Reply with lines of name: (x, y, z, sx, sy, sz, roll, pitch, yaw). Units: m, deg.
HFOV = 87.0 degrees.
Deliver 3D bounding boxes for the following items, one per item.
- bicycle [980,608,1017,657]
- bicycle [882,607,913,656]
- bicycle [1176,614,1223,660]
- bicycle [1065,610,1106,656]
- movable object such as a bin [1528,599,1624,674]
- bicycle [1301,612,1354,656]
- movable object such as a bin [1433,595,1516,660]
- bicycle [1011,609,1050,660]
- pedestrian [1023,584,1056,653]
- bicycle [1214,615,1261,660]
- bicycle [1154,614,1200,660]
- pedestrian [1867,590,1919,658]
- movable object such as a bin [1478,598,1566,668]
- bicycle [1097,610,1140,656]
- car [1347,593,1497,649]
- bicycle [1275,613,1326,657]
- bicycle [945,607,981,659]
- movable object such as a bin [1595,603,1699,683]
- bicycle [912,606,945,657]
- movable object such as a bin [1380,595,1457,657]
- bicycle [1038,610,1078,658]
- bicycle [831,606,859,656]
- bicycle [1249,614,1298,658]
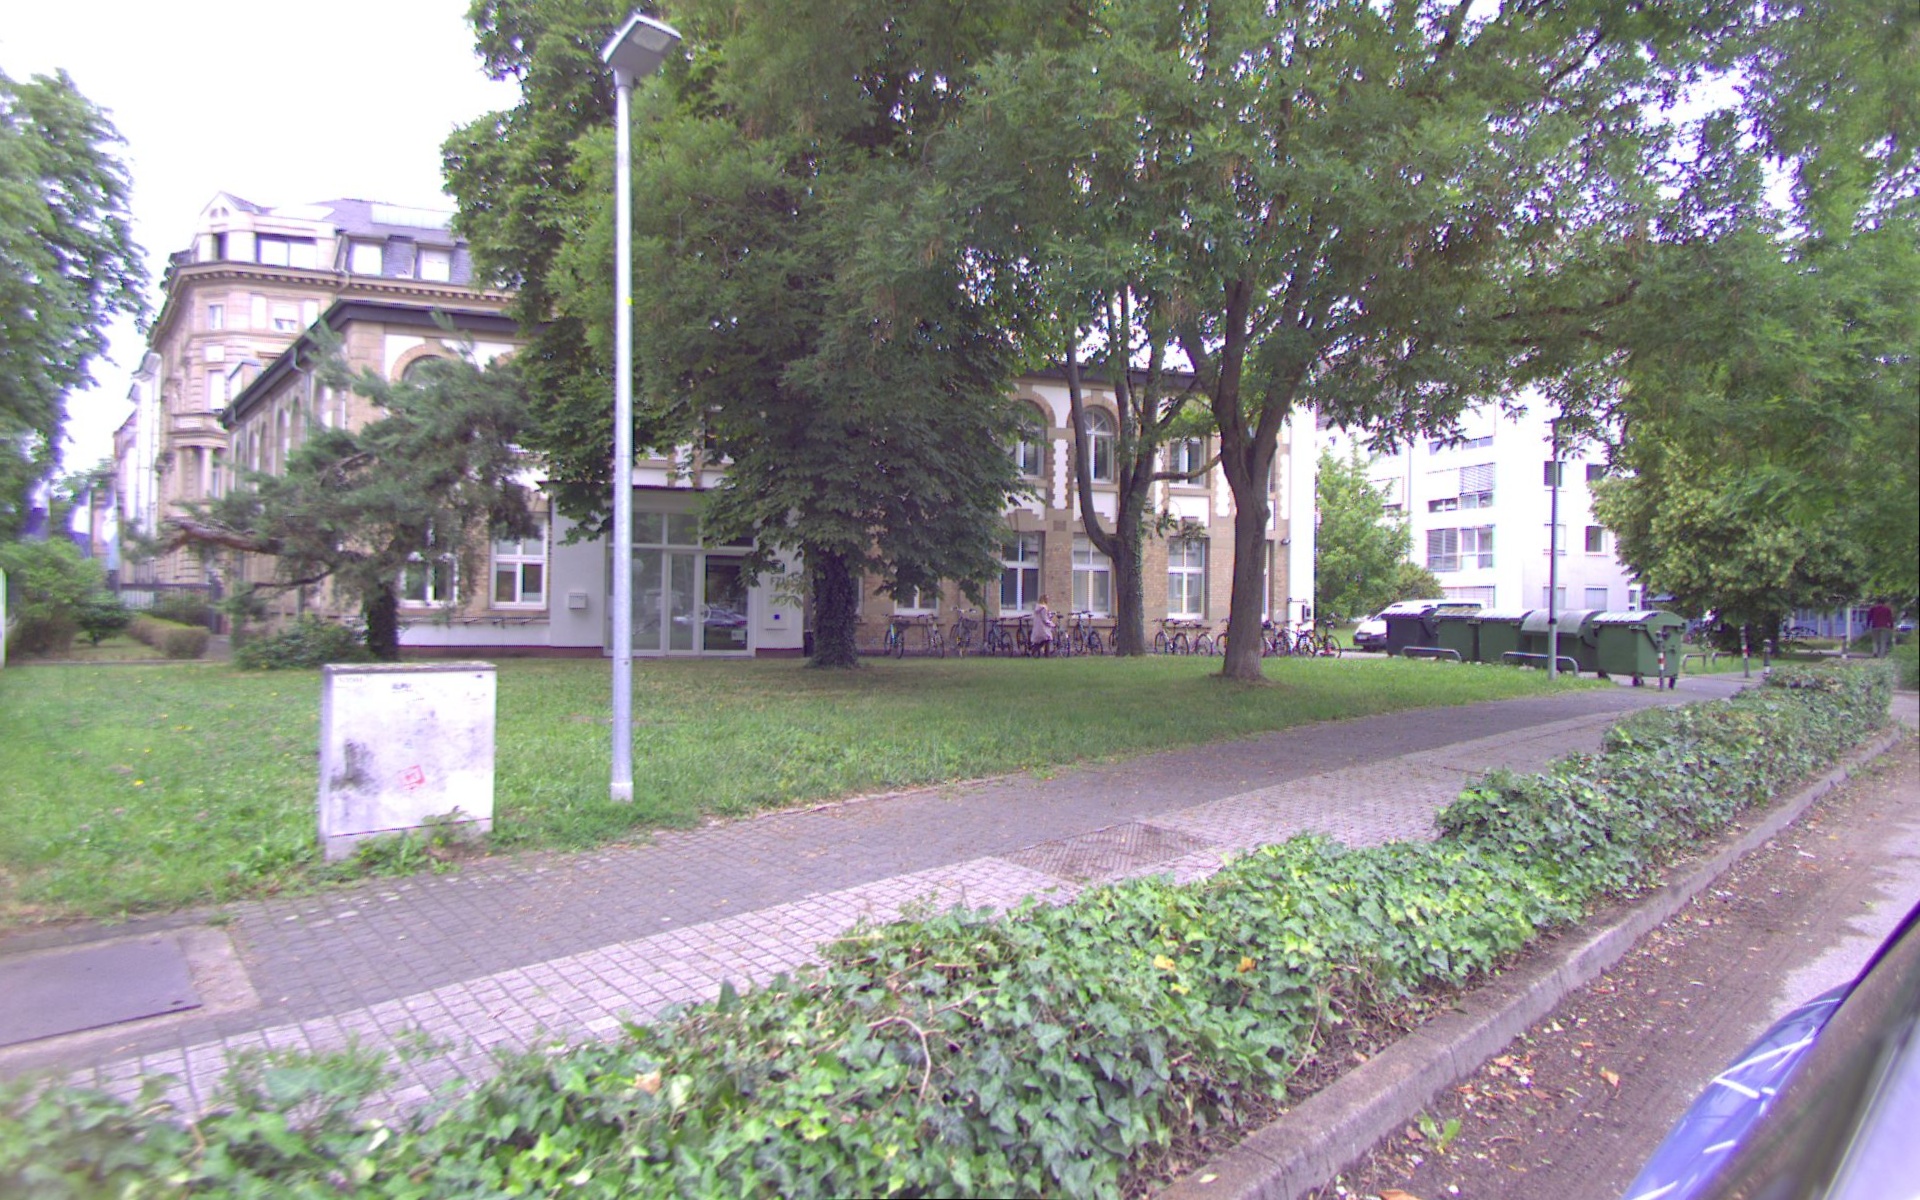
bicycle: (0.946, 0.786, 25.234, 0.451, 1.128, 1.748, 1, 1, -13)
bicycle: (-1.524, 0.745, 24.490, 0.451, 1.129, 1.748, 1, 0, -13)
bicycle: (6.301, 0.953, 26.720, 0.451, 1.129, 1.748, 1, 0, -13)
bicycle: (3.194, 0.828, 25.951, 0.451, 1.129, 1.748, 1, 0, -13)
movable object such as a bin: (12.555, 0.720, 20.663, 1.085, 1.469, 1.289, 1, -1, -15)
bicycle: (10.076, 0.912, 27.815, 0.451, 1.129, 1.748, 1, 0, -14)
movable object such as a bin: (11.962, 0.620, 23.575, 1.085, 1.469, 1.329, 1, -1, -22)
bicycle: (1.746, 0.849, 25.381, 0.451, 1.128, 1.749, 1, 2, -13)
pedestrian: (1.877, 0.441, 24.016, 0.614, 1.607, 0.605, 1, -1, -14)
bicycle: (7.394, 0.996, 27.049, 0.451, 1.129, 1.748, 1, 0, -11)
bicycle: (5.694, 0.954, 26.651, 0.451, 1.129, 1.748, 1, 0, -13)
pedestrian: (29.413, 0.750, 31.844, 1.175, 2.090, 0.796, 1, 0, -19)
movable object such as a bin: (12.292, 0.702, 22.174, 1.085, 1.469, 1.297, 1, -1, -22)
bicycle: (4.116, 0.842, 26.340, 0.451, 1.129, 1.748, 1, 0, -13)
car: (16.448, 0.784, 36.106, 4.673, 1.898, 1.904, 1, -3, -13)
bicycle: (9.261, 0.929, 27.605, 0.451, 1.129, 1.748, 1, 0, -13)
bicycle: (0.056, 0.802, 24.962, 0.451, 1.128, 1.749, 1, 3, -13)
movable object such as a bin: (13.083, 0.804, 19.323, 1.050, 1.452, 1.277, 1, 0, -6)
bicycle: (-0.793, 0.759, 24.822, 0.451, 1.128, 1.749, 1, 2, -13)
movable object such as a bin: (11.365, 0.629, 25.095, 1.085, 1.469, 1.365, 1, -1, -20)
bicycle: (2.460, 0.842, 25.628, 0.451, 1.129, 1.748, 1, 0, -13)
bicycle: (-2.749, 0.714, 24.040, 0.451, 1.129, 1.748, 1, 0, -13)
bicycle: (8.461, 0.957, 27.378, 0.451, 1.129, 1.748, 1, 0, -13)
